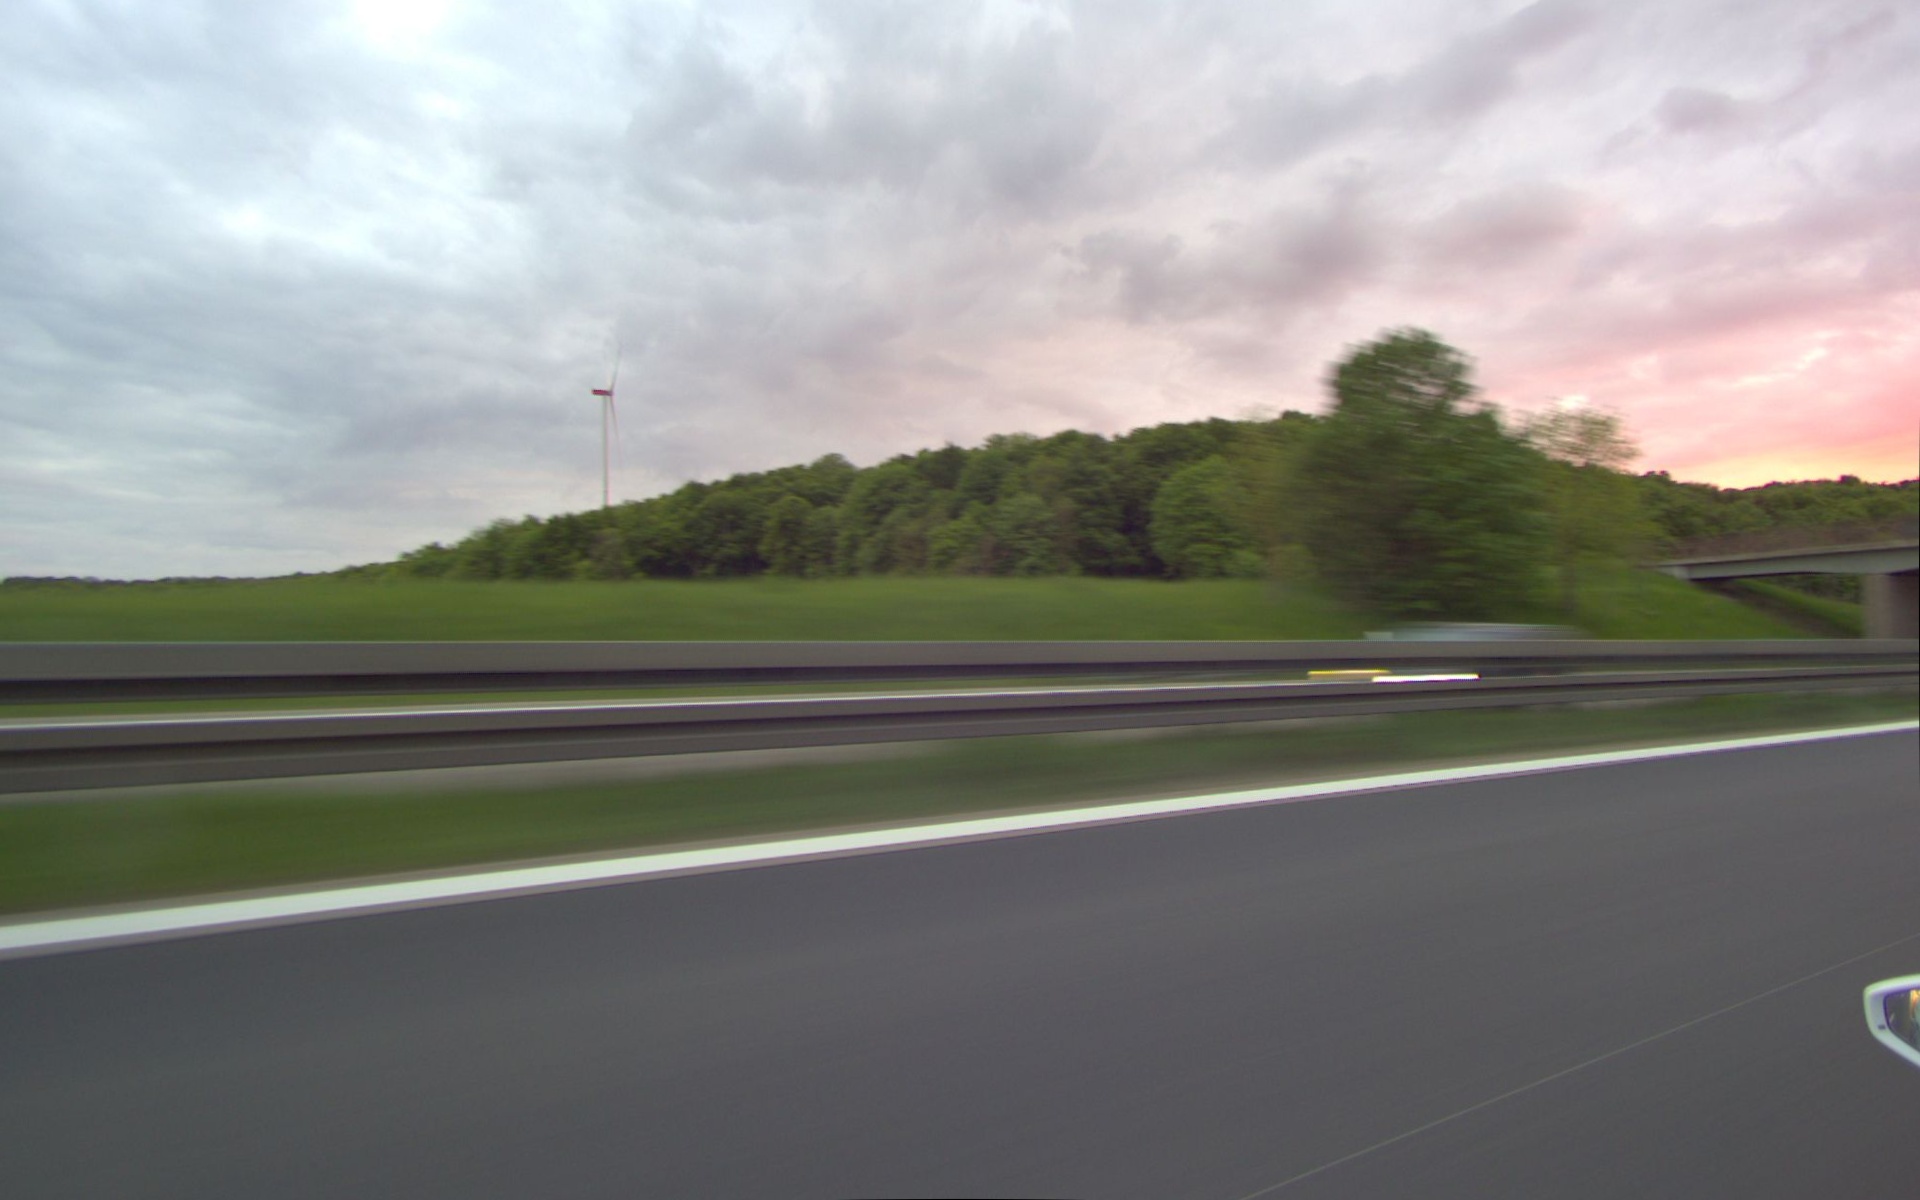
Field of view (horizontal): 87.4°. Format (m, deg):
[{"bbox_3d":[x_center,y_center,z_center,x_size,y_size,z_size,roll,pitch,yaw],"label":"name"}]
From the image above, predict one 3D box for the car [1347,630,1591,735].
[{"bbox_3d":[9.603,1.471,18.882,4.579,1.737,1.768,1,0,-28],"label":"car"}]
